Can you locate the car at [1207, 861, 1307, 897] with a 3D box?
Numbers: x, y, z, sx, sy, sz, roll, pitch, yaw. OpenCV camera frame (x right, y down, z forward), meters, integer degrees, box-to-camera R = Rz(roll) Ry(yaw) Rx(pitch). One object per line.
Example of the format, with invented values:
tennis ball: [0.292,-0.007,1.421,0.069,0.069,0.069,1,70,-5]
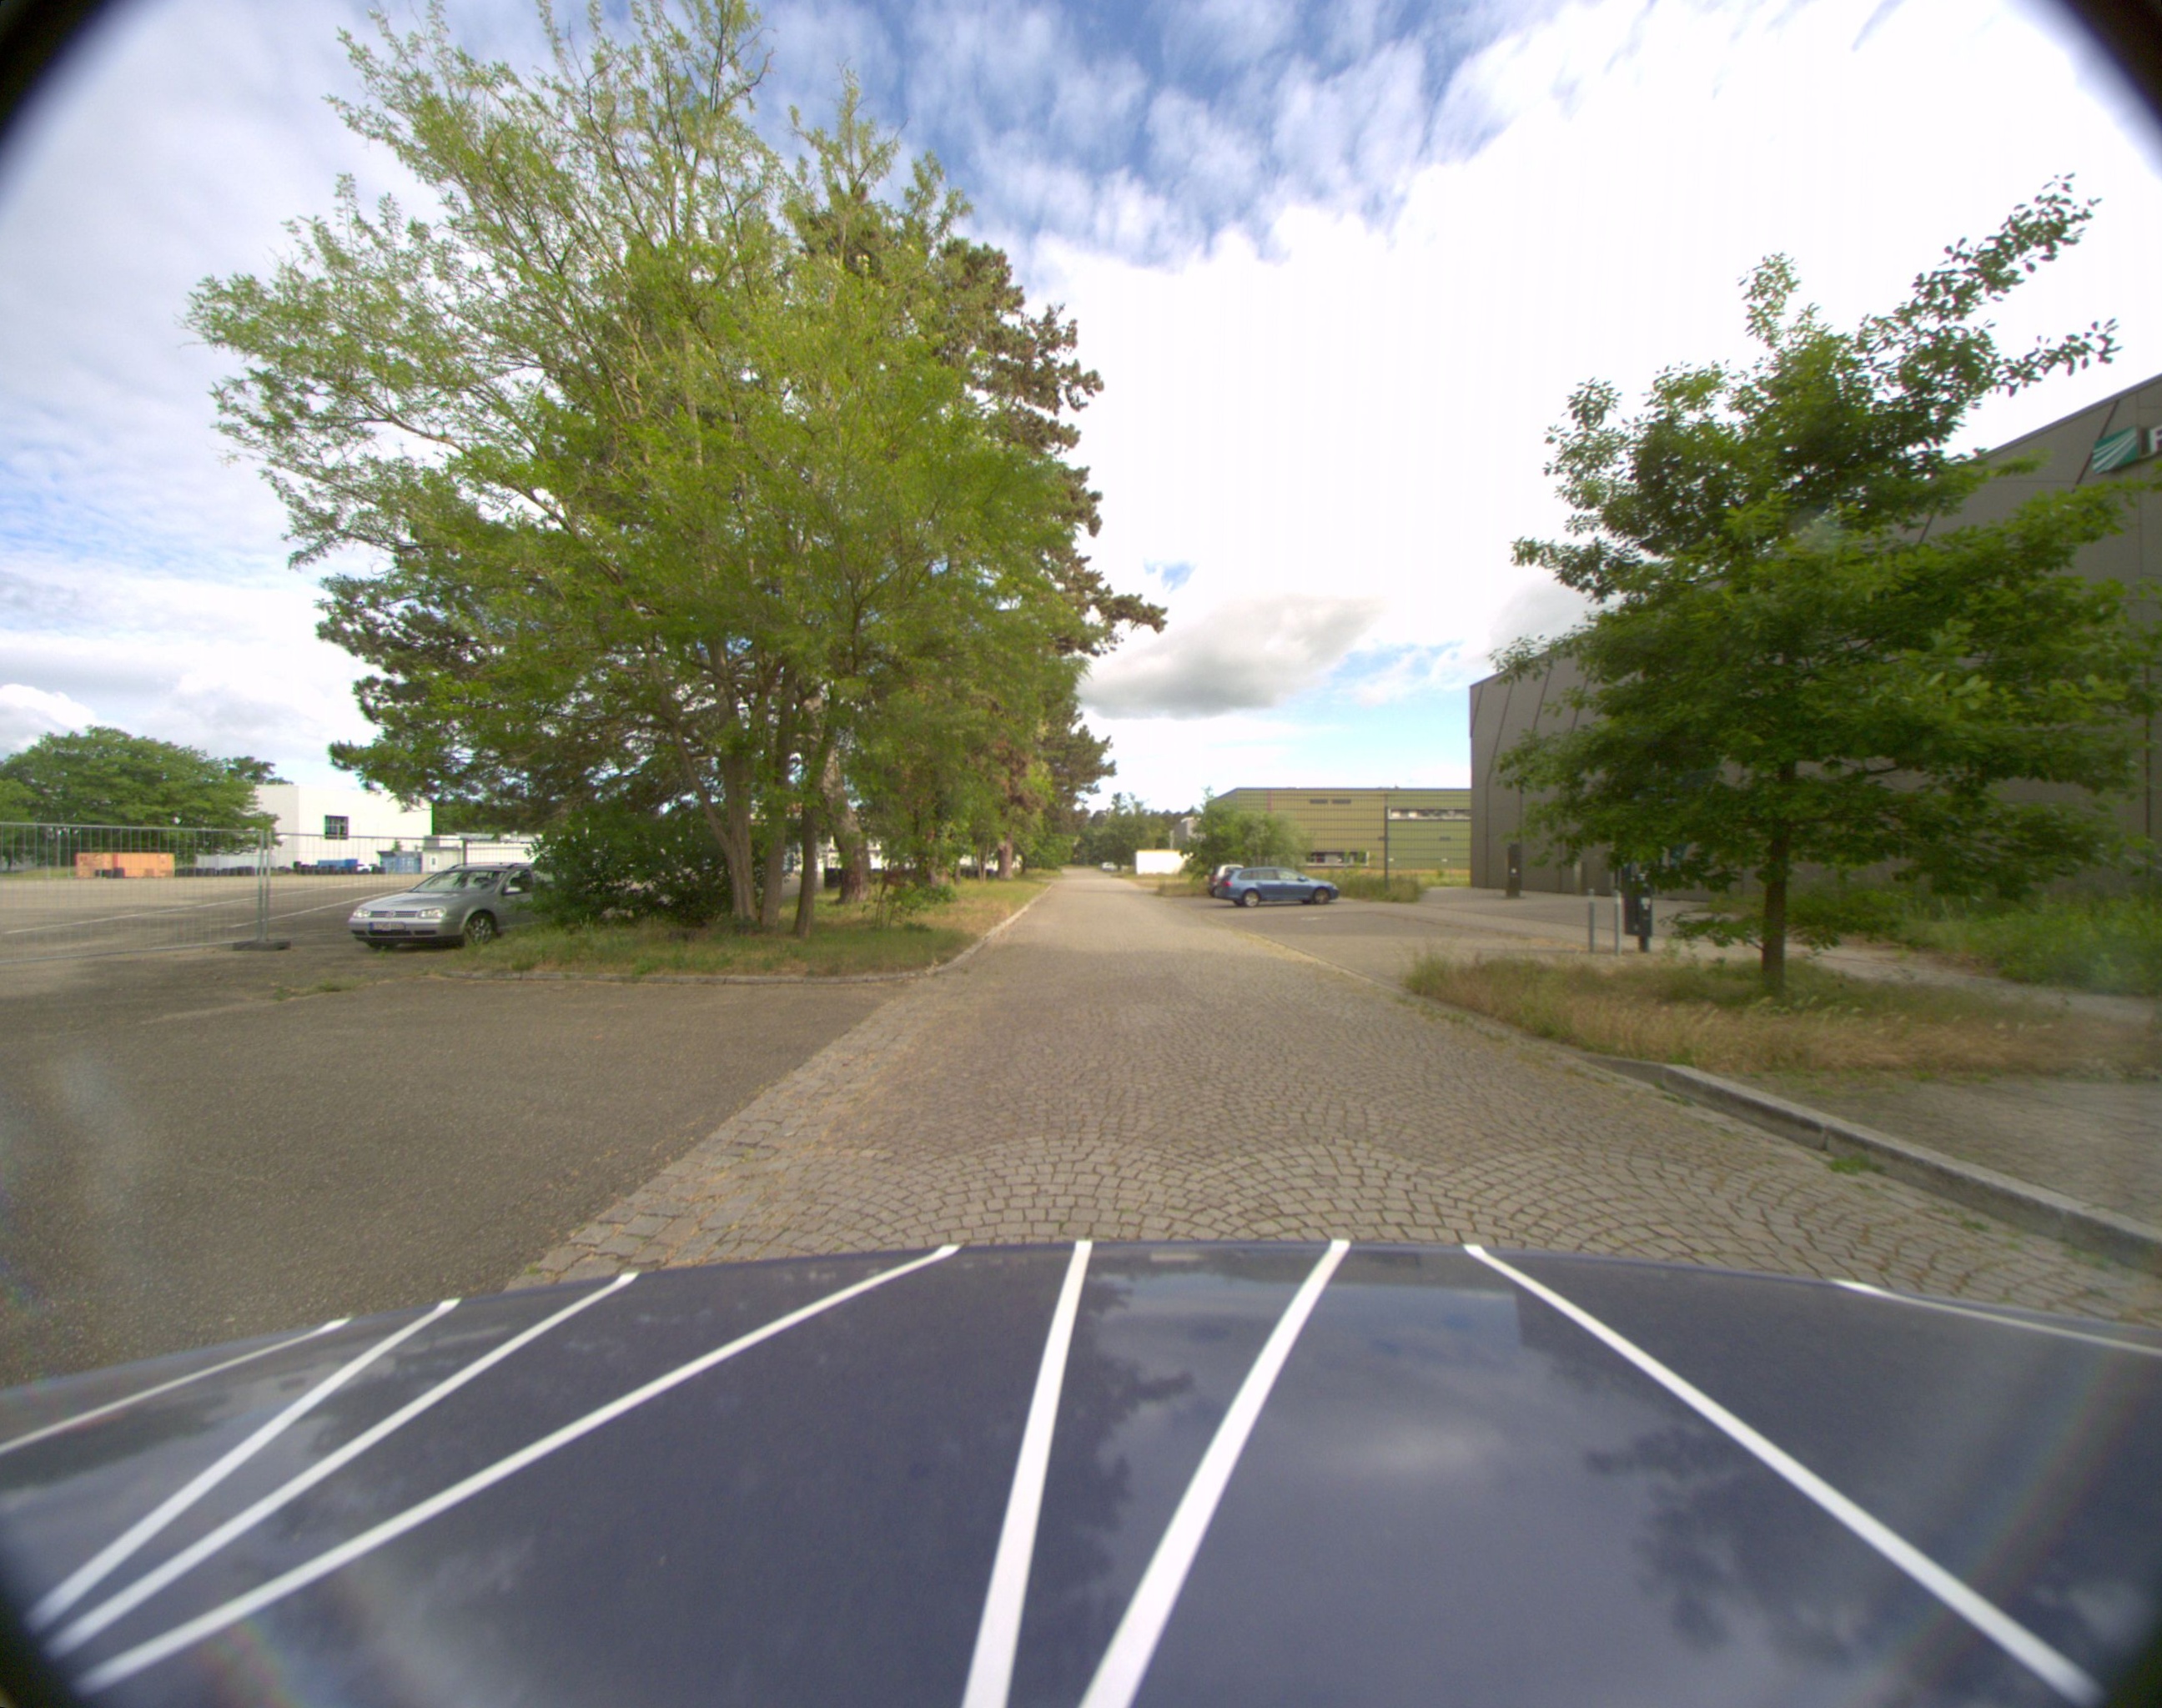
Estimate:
car: [8.281,1.170,36.068,4.401,1.537,1.842,-2,0,6]

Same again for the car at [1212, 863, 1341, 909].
car: [7.337,1.191,28.761,4.404,1.501,1.716,-2,0,-3]

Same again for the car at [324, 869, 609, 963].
car: [-11.062,1.022,14.178,1.759,1.440,4.327,0,0,1]
